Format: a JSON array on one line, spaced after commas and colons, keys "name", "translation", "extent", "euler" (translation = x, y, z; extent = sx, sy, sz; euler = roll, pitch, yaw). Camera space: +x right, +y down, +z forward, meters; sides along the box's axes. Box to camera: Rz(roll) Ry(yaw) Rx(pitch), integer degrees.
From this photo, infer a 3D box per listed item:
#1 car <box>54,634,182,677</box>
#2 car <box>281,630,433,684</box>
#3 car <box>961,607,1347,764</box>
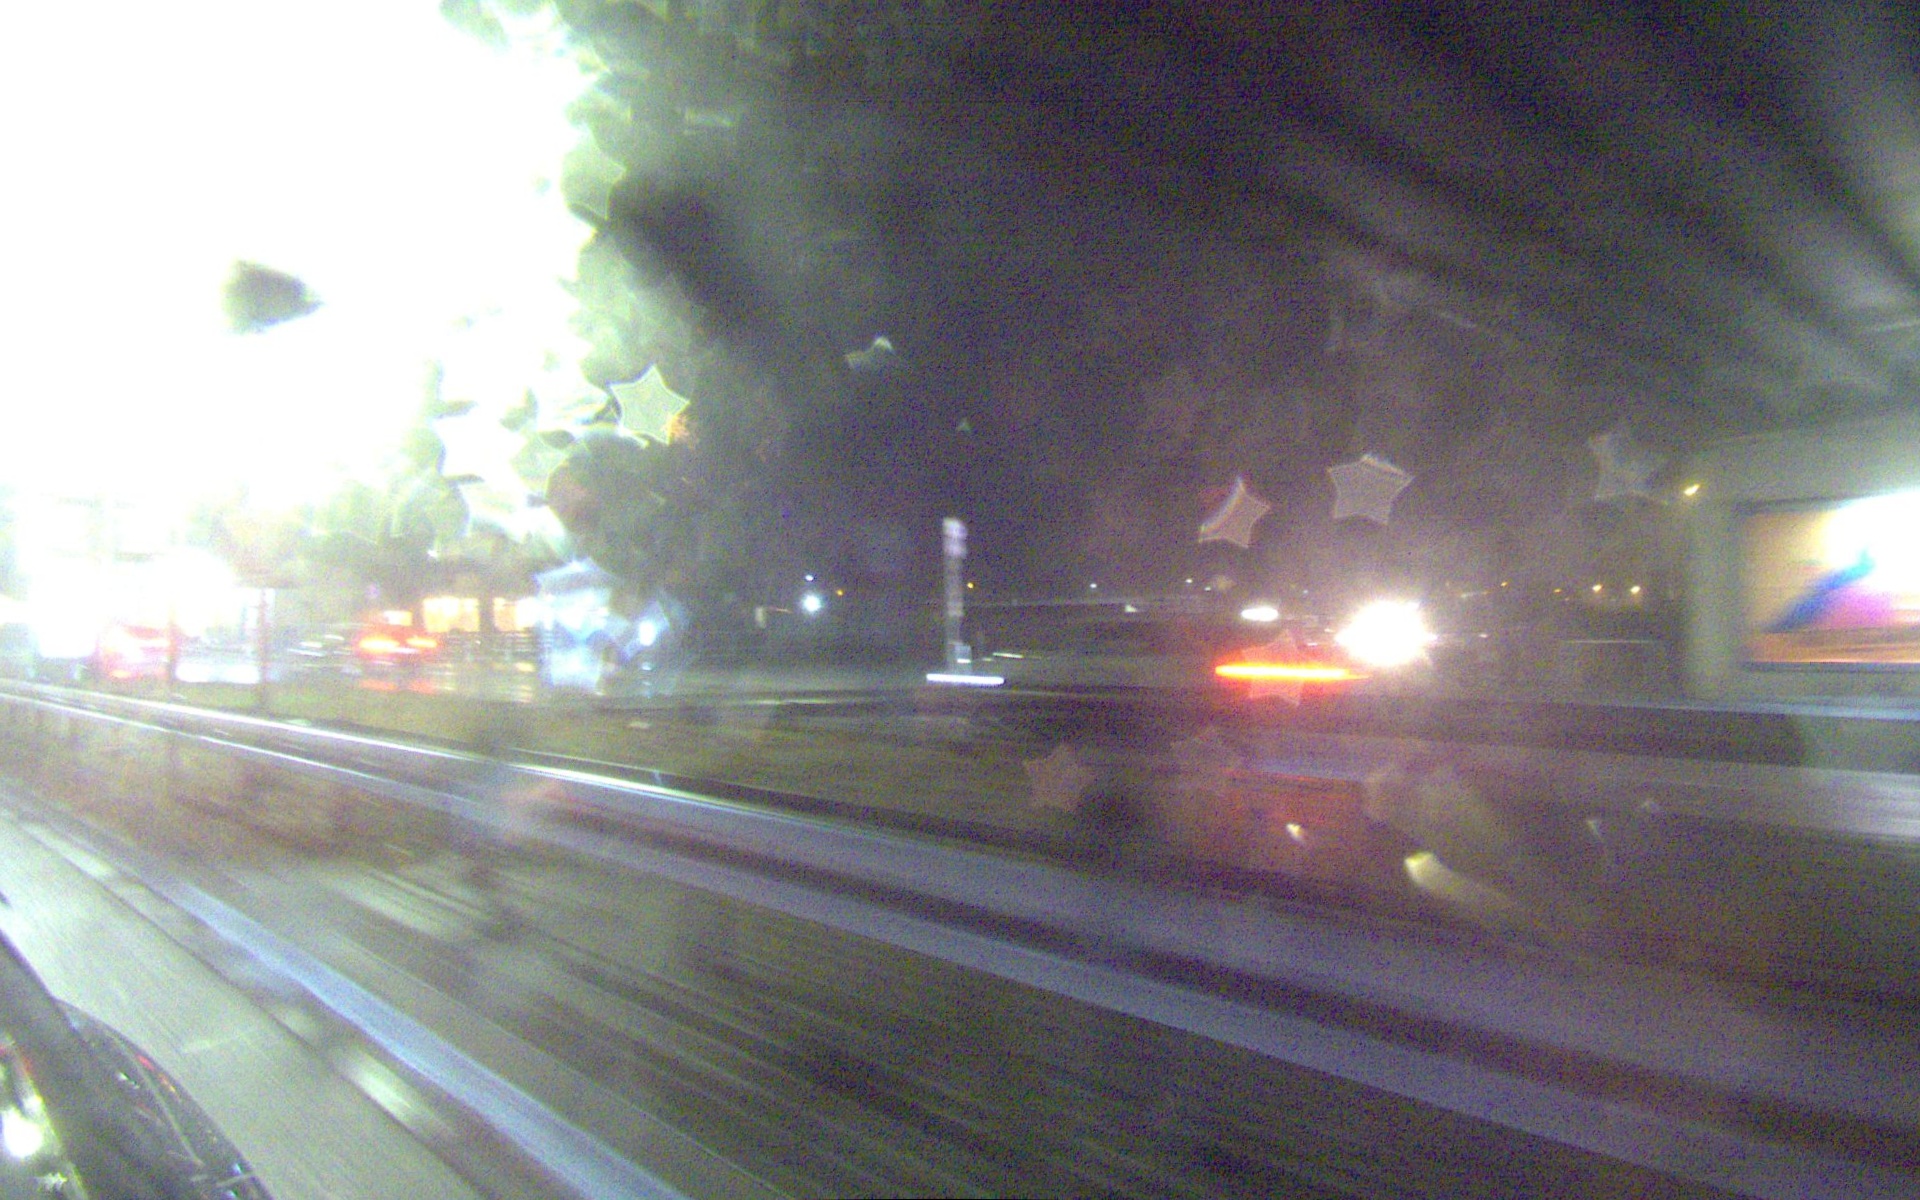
[{"name": "car", "translation": [-29.946, 1.945, 35.973], "extent": [4.820, 1.400, 1.882], "euler": [-2, -1, 29]}, {"name": "car", "translation": [-17.160, 1.591, 28.739], "extent": [4.598, 1.400, 1.880], "euler": [-2, -1, 33]}, {"name": "car", "translation": [2.155, 0.909, 12.074], "extent": [4.310, 1.548, 1.580], "euler": [-2, -2, 41]}]
